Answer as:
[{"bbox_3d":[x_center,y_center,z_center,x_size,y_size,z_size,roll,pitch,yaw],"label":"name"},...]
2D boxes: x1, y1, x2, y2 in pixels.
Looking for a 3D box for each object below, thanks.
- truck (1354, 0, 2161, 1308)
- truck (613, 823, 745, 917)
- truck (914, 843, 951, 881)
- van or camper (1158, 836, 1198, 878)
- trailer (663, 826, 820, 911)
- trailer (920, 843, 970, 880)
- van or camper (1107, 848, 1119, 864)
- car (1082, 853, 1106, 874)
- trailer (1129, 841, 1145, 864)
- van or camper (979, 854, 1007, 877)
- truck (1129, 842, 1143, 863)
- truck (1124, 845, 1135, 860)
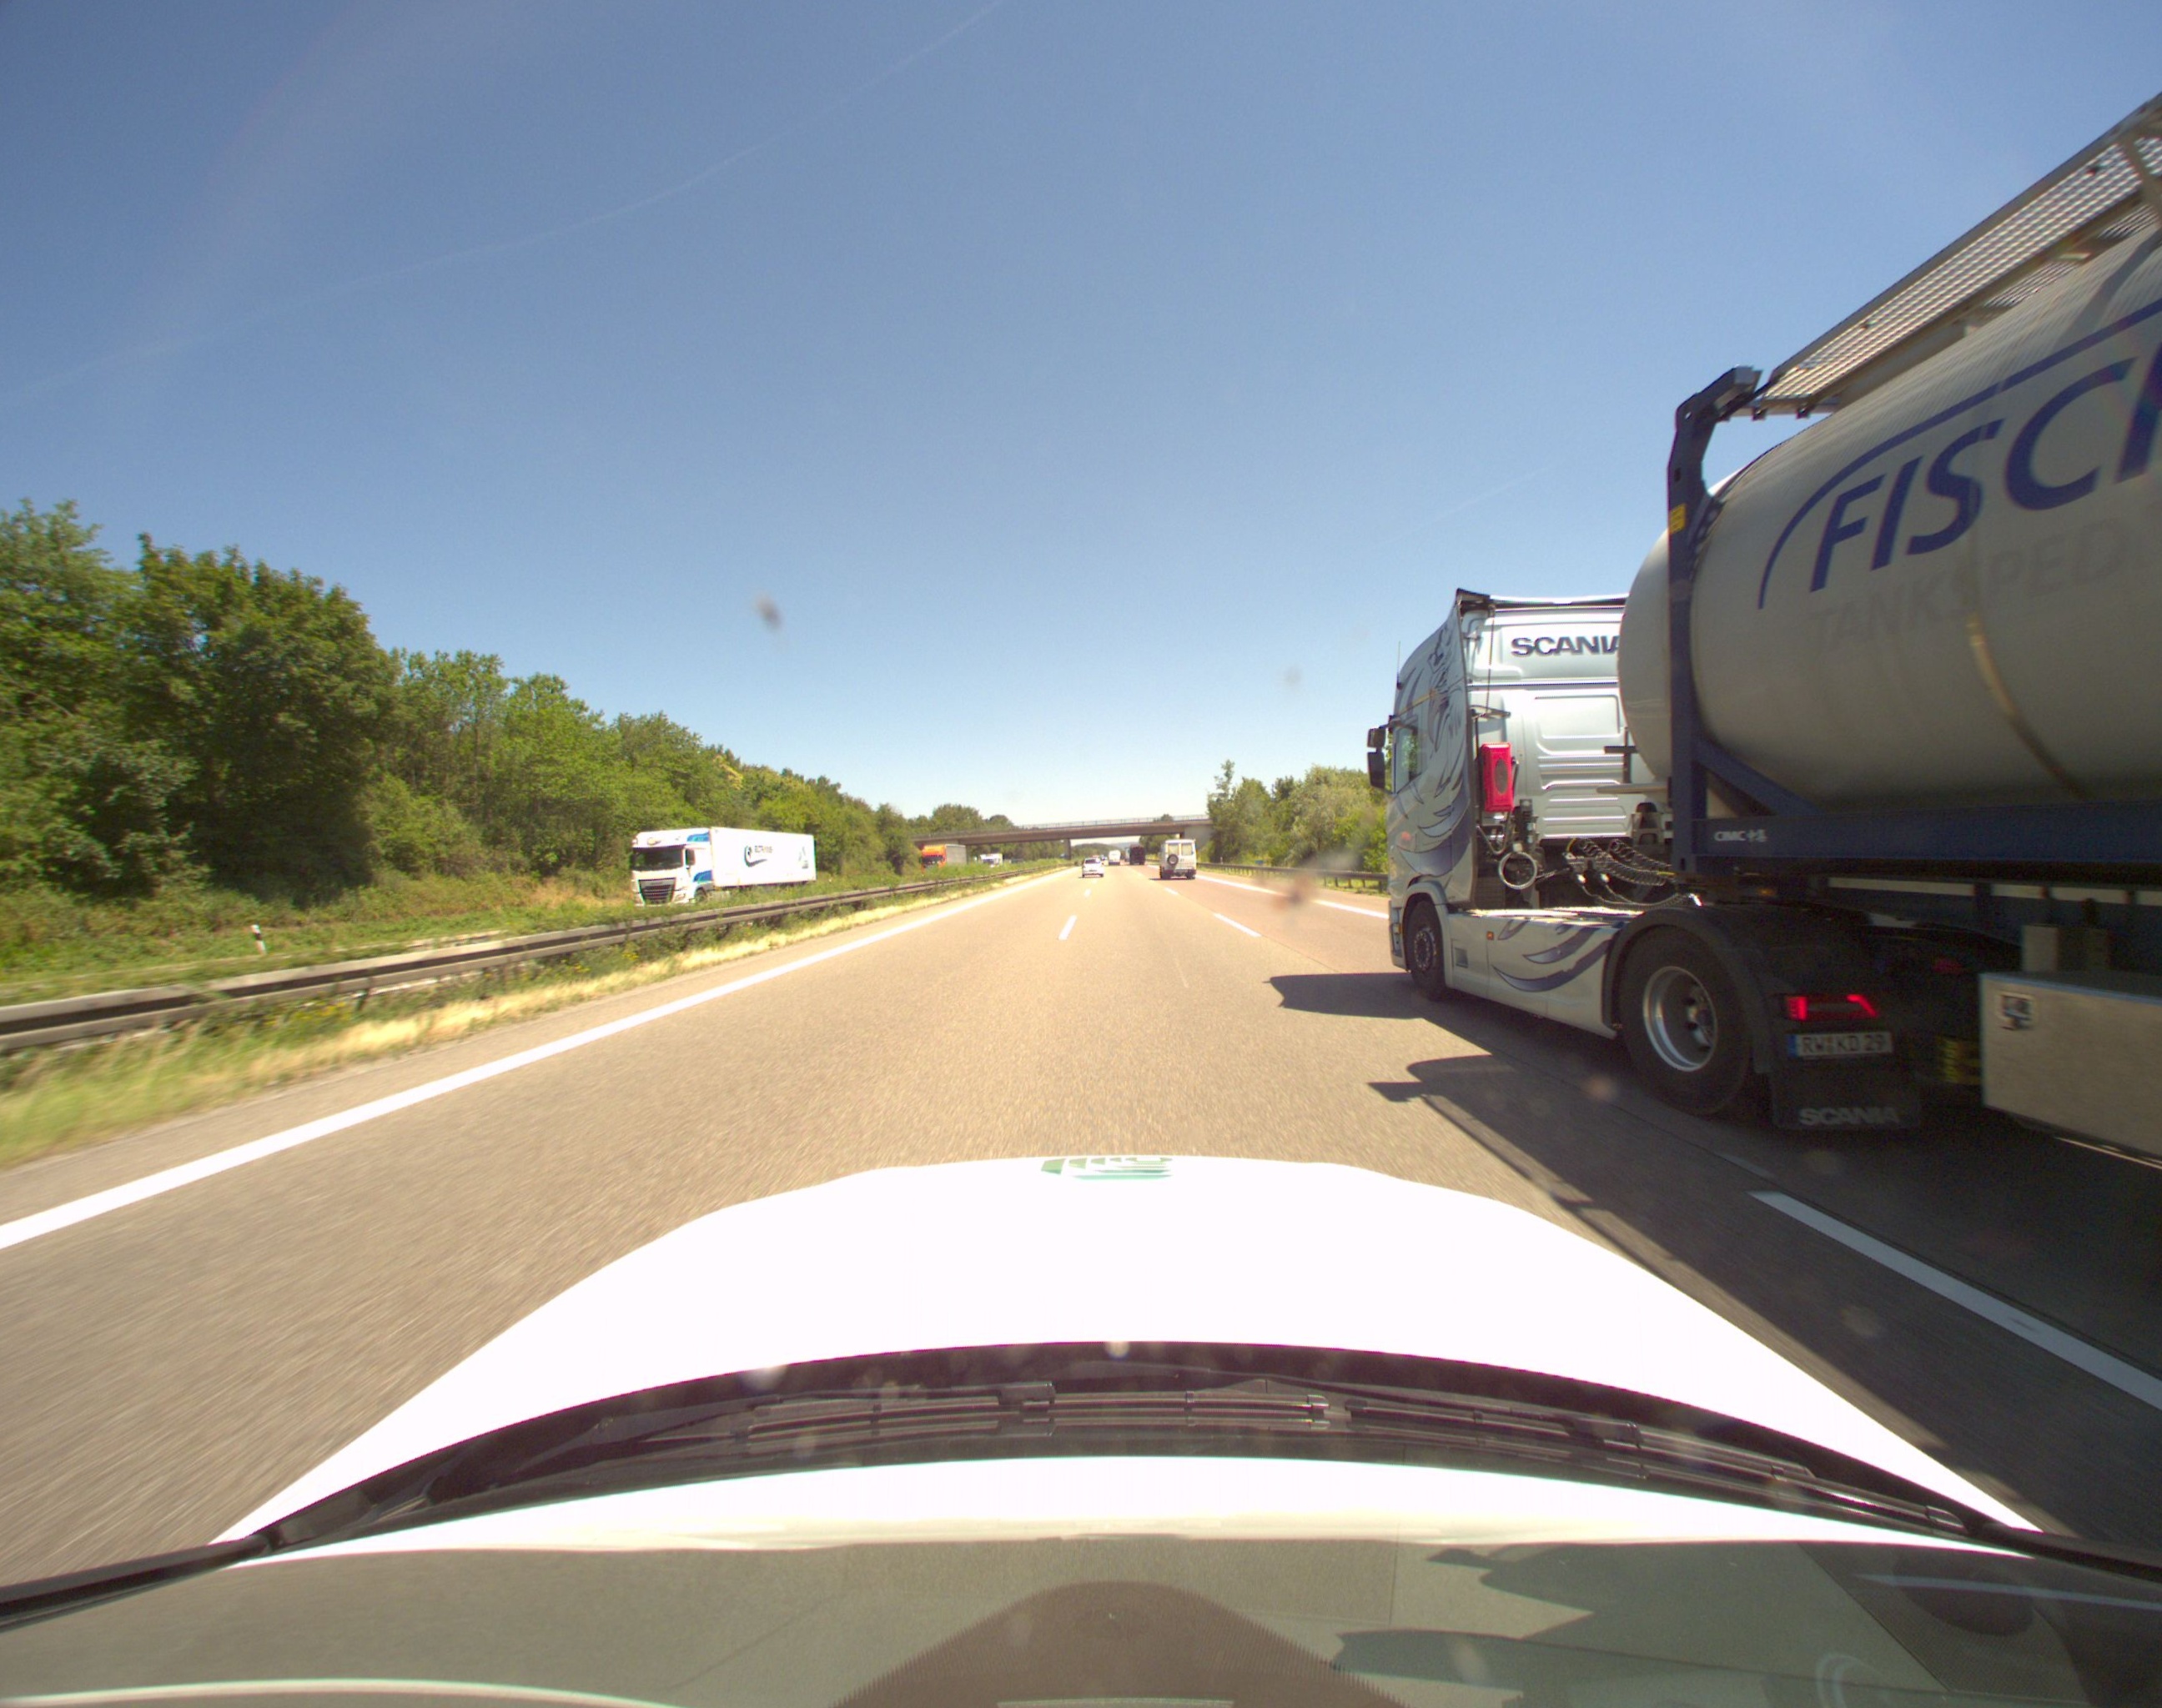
[{"bbox_3d":[4.686,-0.648,3.625,2.788,4.046,13.358,0,0,2],"label":"truck"},{"bbox_3d":[-19.016,0.710,39.016,3.182,4.149,5.946,0,-1,2],"label":"truck"},{"bbox_3d":[-17.091,0.877,93.853,3.125,4.231,5.178,0,-1,2],"label":"truck"},{"bbox_3d":[6.581,0.237,56.046,2.106,2.703,6.369,-1,0,2],"label":"van or camper"},{"bbox_3d":[-18.784,0.767,46.583,3.164,4.191,12.992,0,0,2],"label":"trailer"},{"bbox_3d":[-16.712,0.916,101.435,3.132,4.248,14.488,0,0,3],"label":"trailer"},{"bbox_3d":[5.654,0.326,143.156,2.050,2.622,5.989,-1,0,3],"label":"van or camper"},{"bbox_3d":[1.056,0.738,65.091,1.850,1.652,4.001,0,0,1],"label":"car"},{"bbox_3d":[10.535,-0.255,153.809,2.642,3.958,13.645,-1,0,3],"label":"trailer"},{"bbox_3d":[-11.899,1.492,110.625,2.602,2.967,7.865,0,0,3],"label":"van or camper"},{"bbox_3d":[10.860,-0.335,160.825,2.659,3.994,6.640,-1,0,3],"label":"truck"},{"bbox_3d":[13.798,-0.399,233.201,3.066,4.209,16.857,0,0,3],"label":"truck"}]
